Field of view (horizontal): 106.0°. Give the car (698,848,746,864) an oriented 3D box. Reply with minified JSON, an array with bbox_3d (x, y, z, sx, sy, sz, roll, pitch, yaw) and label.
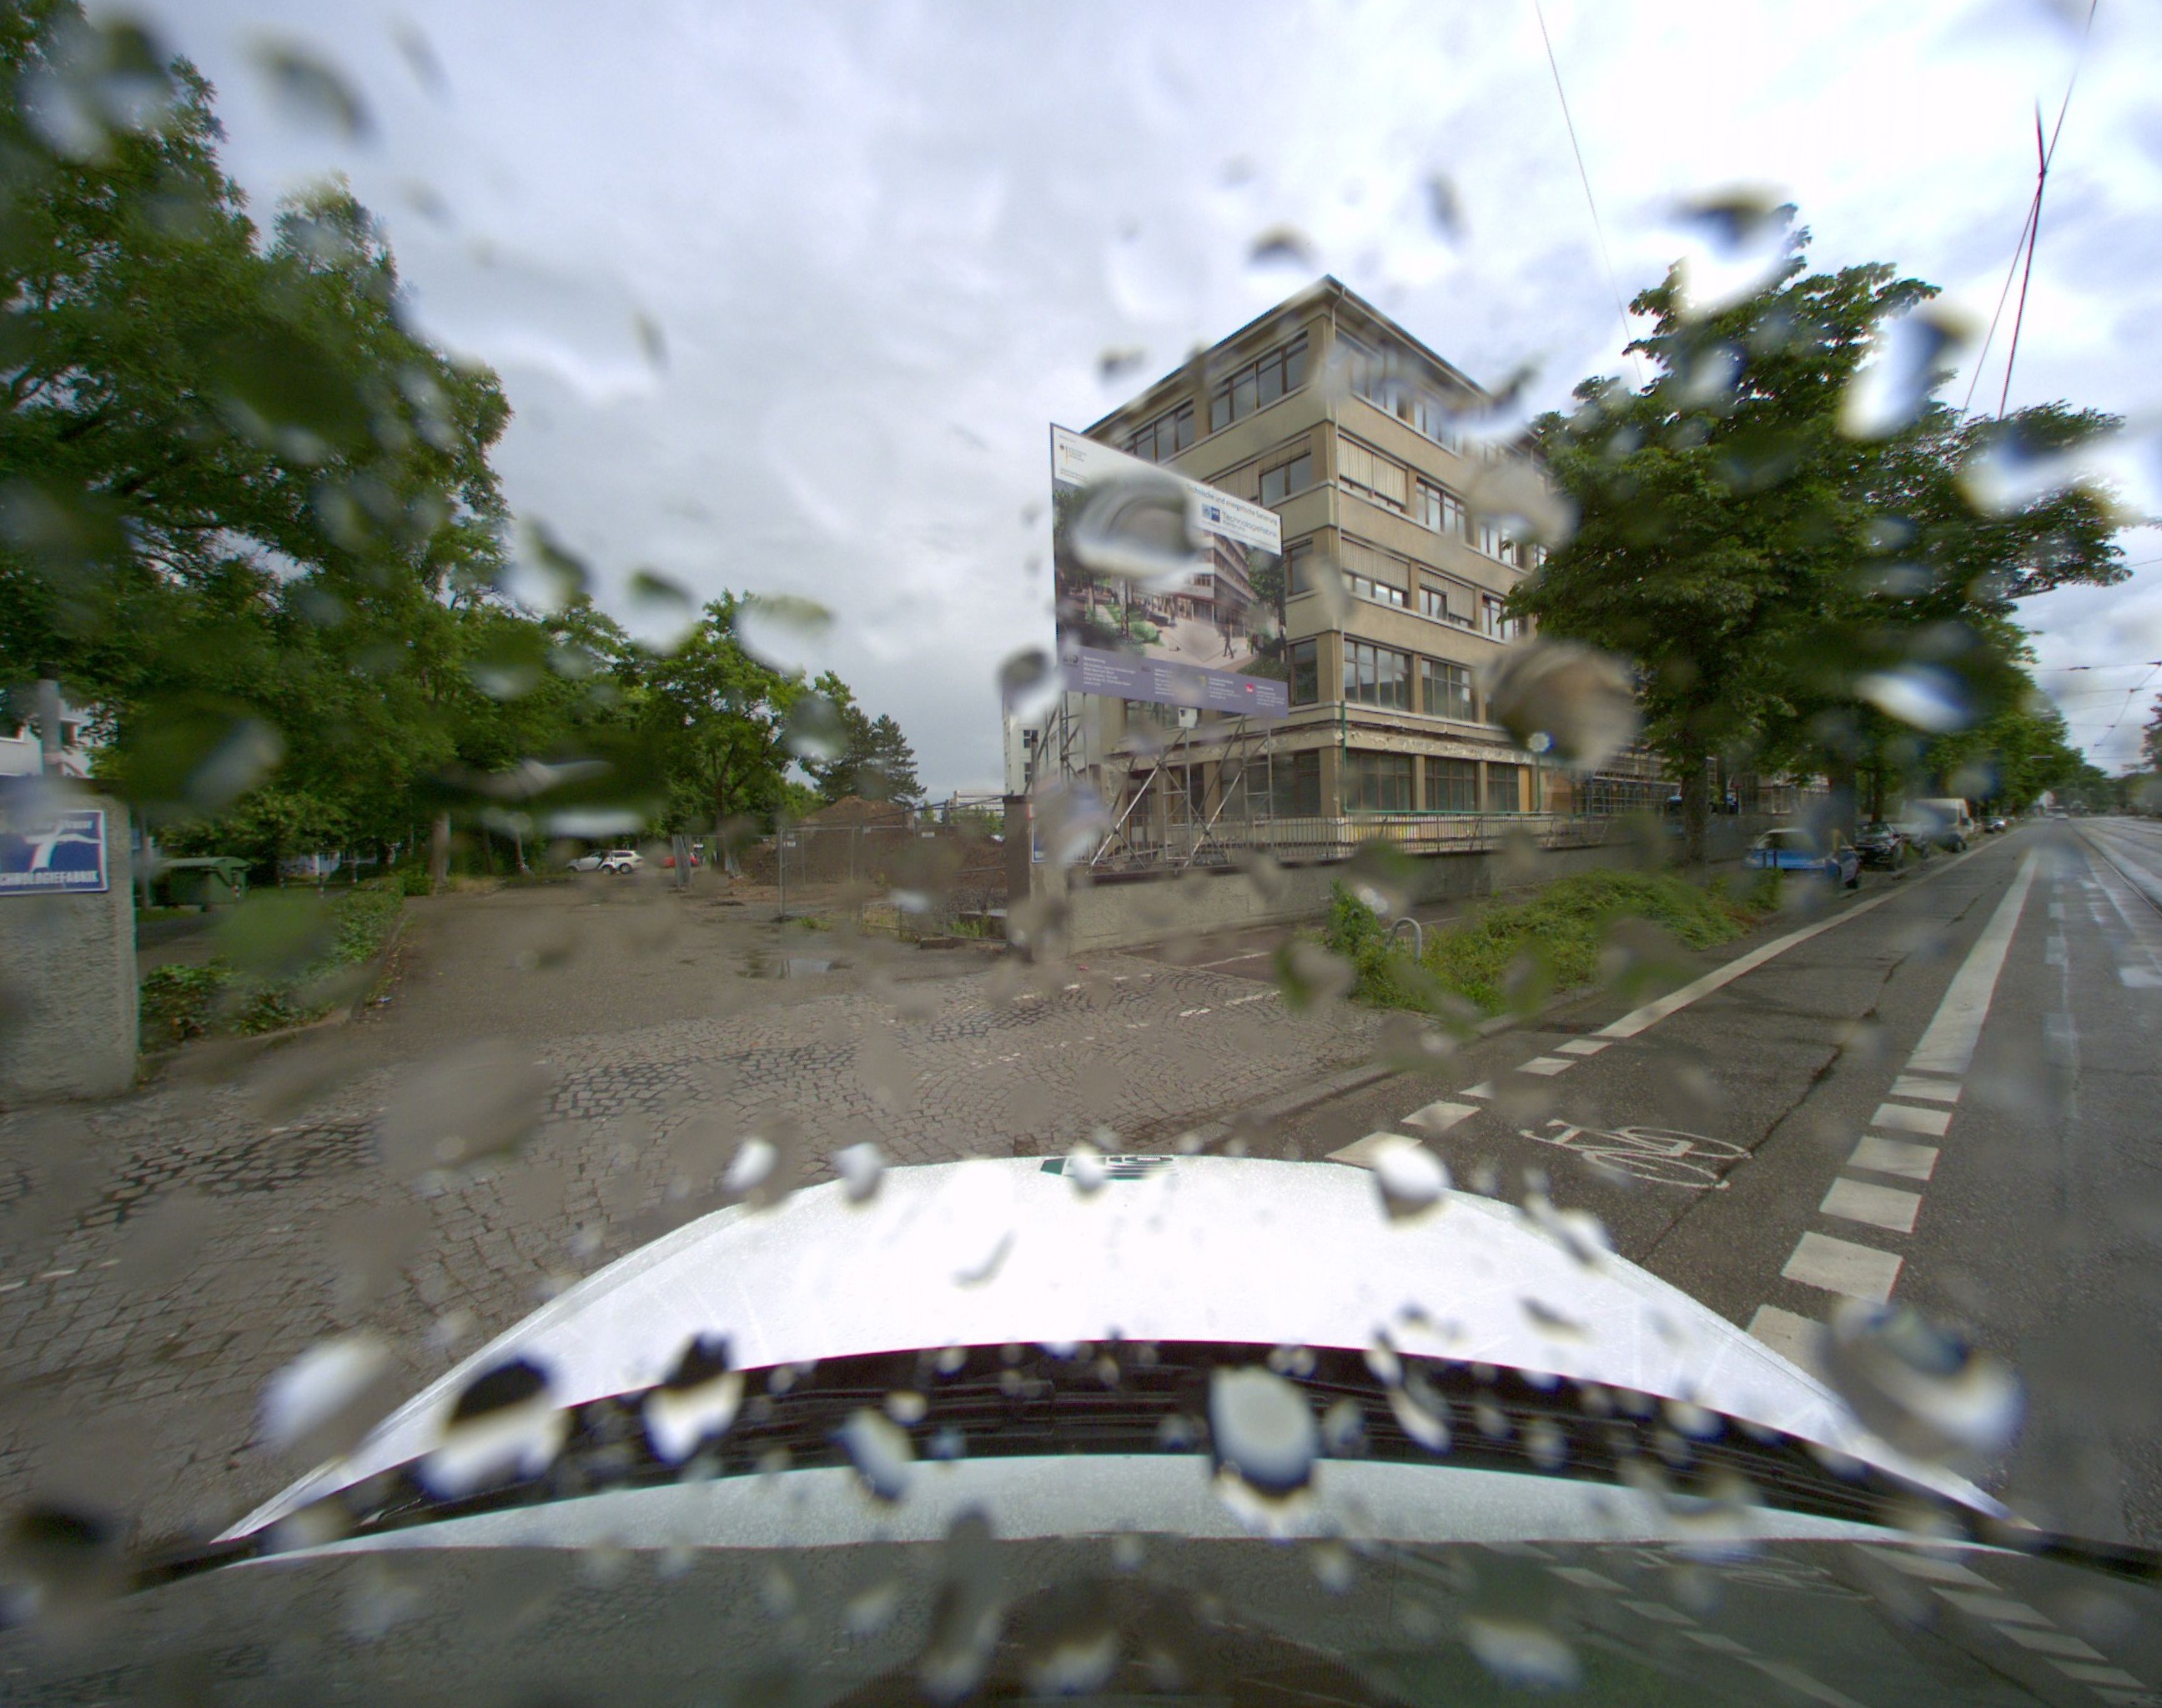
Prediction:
[{"bbox_3d":[-34.597,0.193,78.591,3.950,1.516,1.796,0,2,-16],"label":"car"}]

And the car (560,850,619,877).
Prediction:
[{"bbox_3d":[-29.284,0.553,48.633,2.766,1.484,1.580,-2,2,-24],"label":"car"}]

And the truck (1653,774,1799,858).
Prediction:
[{"bbox_3d":[30.664,-1.713,38.506,9.959,3.526,3.206,-1,2,-39],"label":"truck"}]

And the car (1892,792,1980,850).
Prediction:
[{"bbox_3d":[40.054,-1.501,38.108,6.186,2.473,2.566,-1,2,-41],"label":"car"}]

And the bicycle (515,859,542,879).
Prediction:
[{"bbox_3d":[-25.336,0.692,37.389,0.475,0.860,1.450,0,2,-11],"label":"bicycle"}]

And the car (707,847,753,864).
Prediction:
[{"bbox_3d":[-35.010,0.147,81.327,3.994,1.559,1.755,0,2,-15],"label":"car"}]

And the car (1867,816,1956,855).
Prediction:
[{"bbox_3d":[33.239,-0.776,32.576,4.089,1.470,1.799,-2,2,-35],"label":"car"}]

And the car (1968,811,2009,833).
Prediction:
[{"bbox_3d":[73.799,-2.591,66.219,4.018,1.742,1.843,-1,2,-37],"label":"car"}]

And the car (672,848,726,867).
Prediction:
[{"bbox_3d":[-32.994,0.295,70.459,3.795,1.529,1.902,0,2,-11],"label":"car"}]

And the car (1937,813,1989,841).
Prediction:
[{"bbox_3d":[56.453,-1.725,52.121,4.018,1.742,1.843,-1,2,-37],"label":"car"}]

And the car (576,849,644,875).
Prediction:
[{"bbox_3d":[-29.431,0.485,51.034,3.448,1.468,1.727,-2,2,-24],"label":"car"}]

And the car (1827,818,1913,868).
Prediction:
[{"bbox_3d":[25.336,-0.390,26.118,4.023,1.470,1.867,-2,2,-44],"label":"car"}]

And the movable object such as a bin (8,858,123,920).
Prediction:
[{"bbox_3d":[-26.054,0.866,20.933,1.401,1.483,1.162,-1,0,-16],"label":"movable object such as a bin"}]

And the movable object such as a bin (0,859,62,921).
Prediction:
[{"bbox_3d":[-27.517,0.922,20.724,1.496,1.483,1.162,-2,2,-17],"label":"movable object such as a bin"}]

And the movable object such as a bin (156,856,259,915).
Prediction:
[{"bbox_3d":[-23.180,0.808,21.653,1.477,1.473,1.104,-2,0,-2],"label":"movable object such as a bin"}]

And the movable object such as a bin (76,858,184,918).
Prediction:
[{"bbox_3d":[-24.637,0.850,21.142,1.402,1.483,1.161,0,0,-18],"label":"movable object such as a bin"}]

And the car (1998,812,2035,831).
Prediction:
[{"bbox_3d":[84.112,-2.914,73.212,4.018,1.637,1.843,-1,2,-37],"label":"car"}]

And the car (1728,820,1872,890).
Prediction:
[{"bbox_3d":[16.959,-0.028,19.152,4.020,1.470,1.869,-1,2,-39],"label":"car"}]

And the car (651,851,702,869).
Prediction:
[{"bbox_3d":[-32.643,0.475,65.811,3.283,1.425,1.587,0,1,-9],"label":"car"}]

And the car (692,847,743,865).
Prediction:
[{"bbox_3d":[-33.870,0.174,75.979,4.117,1.650,1.836,0,2,-17],"label":"car"}]
